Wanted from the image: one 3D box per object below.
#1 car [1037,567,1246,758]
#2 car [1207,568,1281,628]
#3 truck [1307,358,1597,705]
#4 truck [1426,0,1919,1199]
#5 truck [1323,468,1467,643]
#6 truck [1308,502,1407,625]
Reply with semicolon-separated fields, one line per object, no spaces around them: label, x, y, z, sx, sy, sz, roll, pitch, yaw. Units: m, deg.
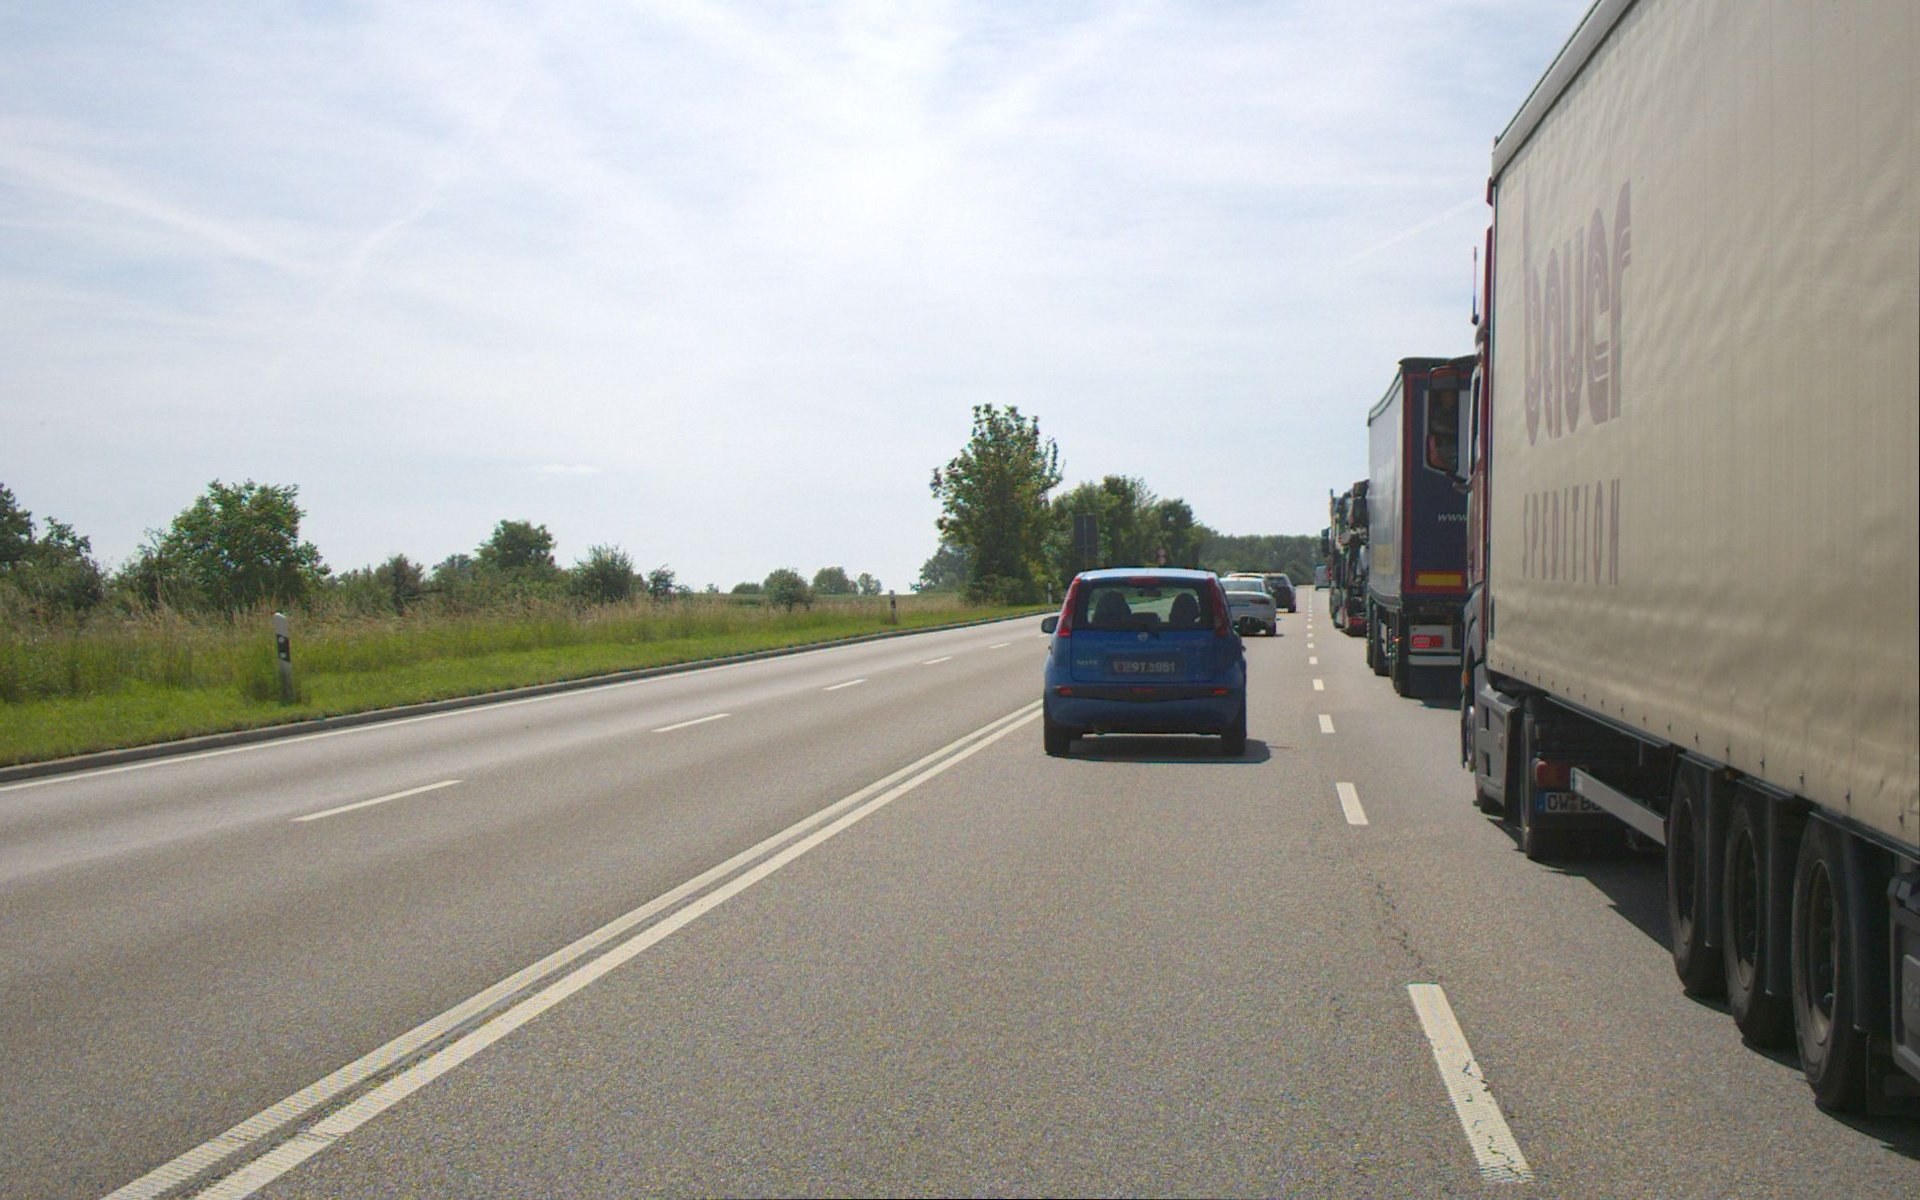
car;1.626;0.500;29.732;1.632;1.526;3.914;0;0;5
car;6.811;-0.060;82.831;1.703;1.371;4.602;1;0;4
truck;6.351;-0.838;46.752;3.047;3.897;15.612;1;0;5
truck;4.060;-0.672;15.068;3.007;4.166;16.711;0;1;4
truck;10.746;-1.060;86.460;3.047;3.897;18.393;1;0;6
truck;13.529;-1.225;118.265;3.047;3.897;18.393;1;0;6
